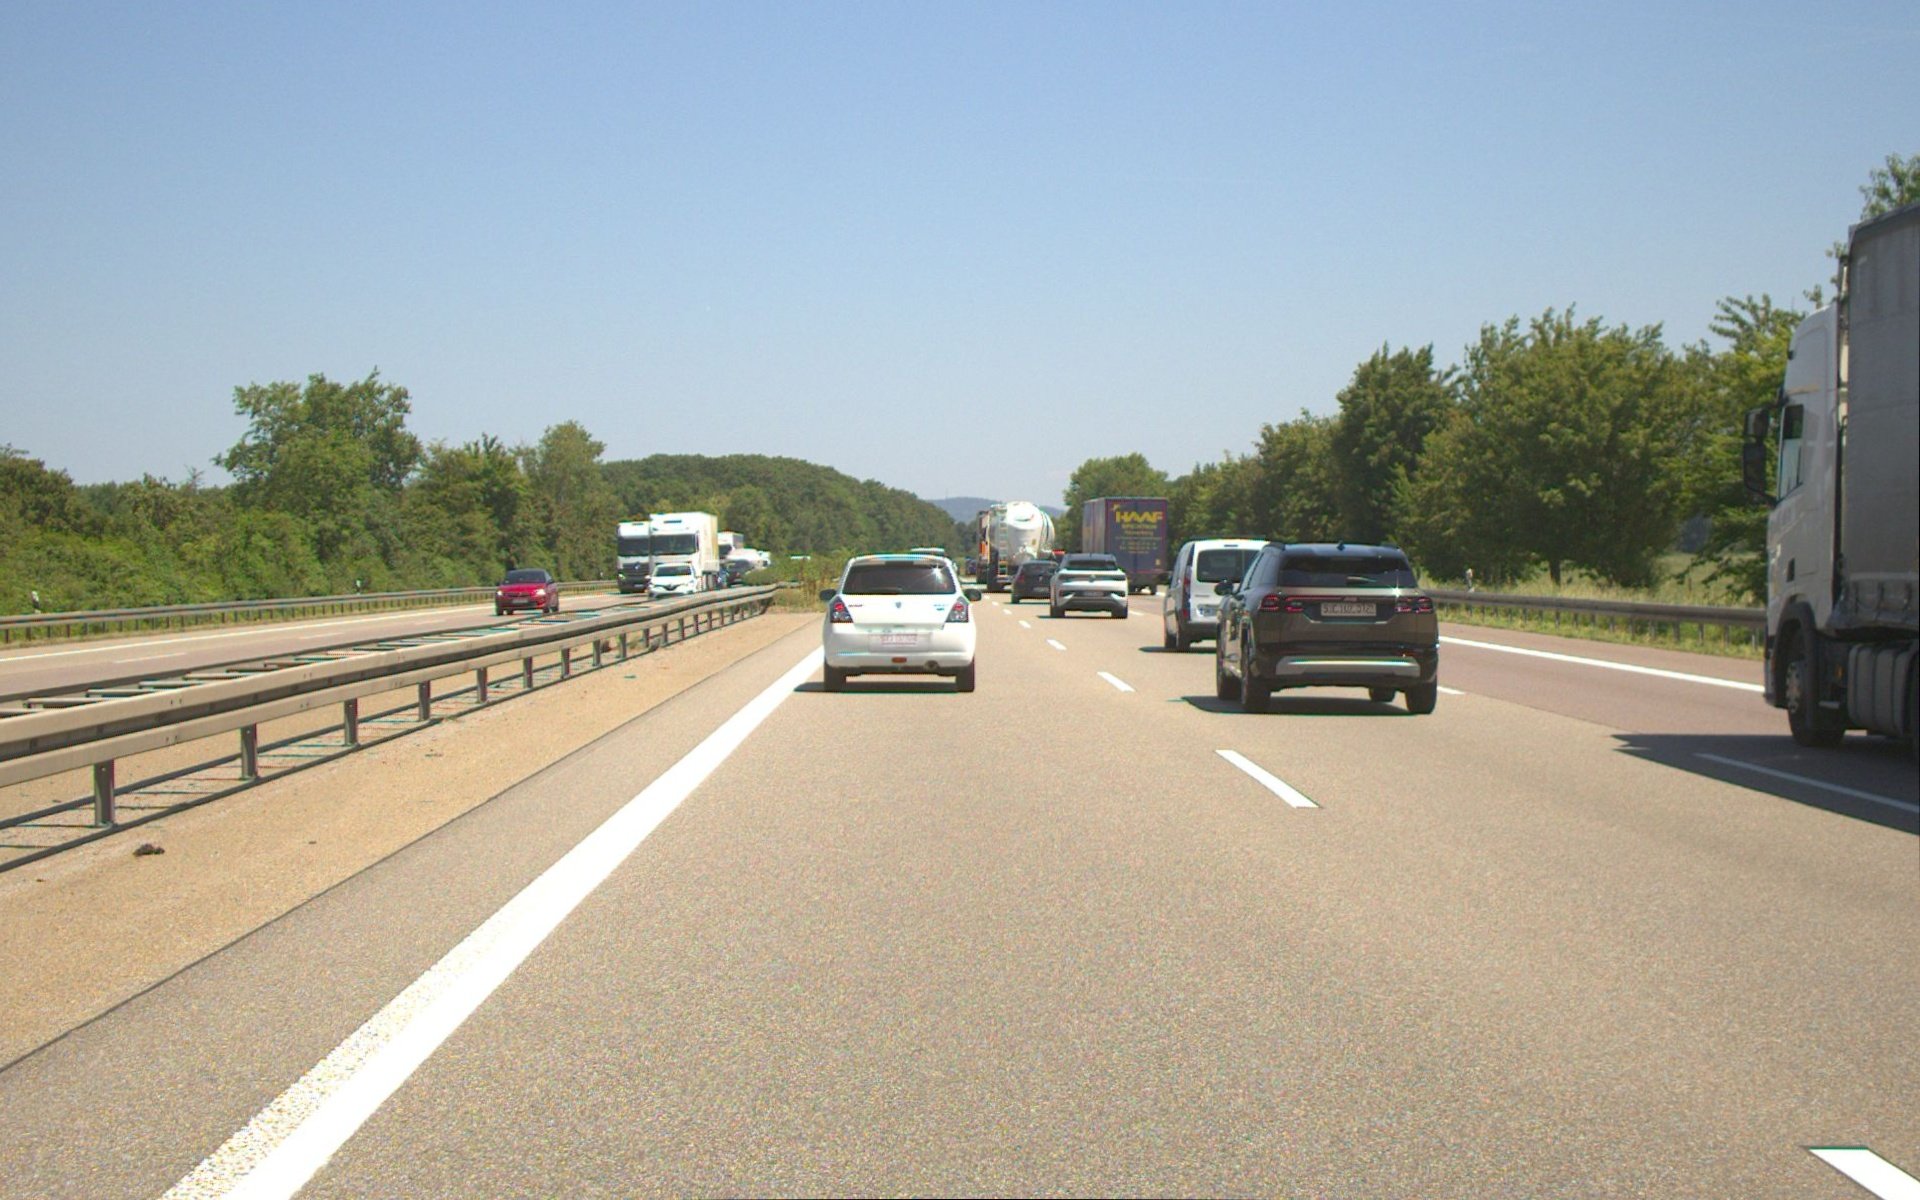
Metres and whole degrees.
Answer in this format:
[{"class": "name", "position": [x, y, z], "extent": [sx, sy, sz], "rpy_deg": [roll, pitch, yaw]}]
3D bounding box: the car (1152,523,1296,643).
[{"class": "car", "position": [4.281, -0.294, 56.395], "extent": [1.853, 1.856, 4.702], "rpy_deg": [1, 1, -1]}]

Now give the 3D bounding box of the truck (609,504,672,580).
[{"class": "truck", "position": [-18.044, -3.258, 194.331], "extent": [2.757, 4.089, 6.152], "rpy_deg": [-3, 1, 0]}]

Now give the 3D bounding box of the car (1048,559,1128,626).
[{"class": "car", "position": [3.202, -0.211, 86.691], "extent": [1.802, 1.597, 4.381], "rpy_deg": [1, 1, 0]}]

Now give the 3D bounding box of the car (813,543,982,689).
[{"class": "car", "position": [-0.699, 0.154, 38.944], "extent": [1.799, 1.547, 3.610], "rpy_deg": [1, 1, -1]}]

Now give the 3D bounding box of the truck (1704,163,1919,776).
[{"class": "truck", "position": [8.077, -0.930, 26.853], "extent": [2.810, 4.290, 7.193], "rpy_deg": [1, 1, -1]}]

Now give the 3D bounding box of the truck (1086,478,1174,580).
[{"class": "truck", "position": [7.216, -2.974, 147.699], "extent": [3.109, 4.124, 15.511], "rpy_deg": [1, 1, 1]}]

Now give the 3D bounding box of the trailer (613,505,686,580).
[{"class": "trailer", "position": [-18.048, -3.333, 200.741], "extent": [2.757, 4.089, 14.053], "rpy_deg": [-3, 1, 0]}]

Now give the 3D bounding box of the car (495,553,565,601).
[{"class": "car", "position": [-13.921, -0.762, 111.462], "extent": [1.772, 1.412, 4.111], "rpy_deg": [-2, 1, -1]}]

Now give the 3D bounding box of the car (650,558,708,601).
[{"class": "car", "position": [-9.796, -0.729, 120.218], "extent": [1.719, 1.417, 3.898], "rpy_deg": [-2, 0, -1]}]

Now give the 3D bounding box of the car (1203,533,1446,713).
[{"class": "car", "position": [3.617, 0.192, 34.902], "extent": [1.867, 1.669, 4.746], "rpy_deg": [1, 1, -1]}]

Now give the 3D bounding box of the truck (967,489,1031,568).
[{"class": "truck", "position": [2.166, -3.941, 192.538], "extent": [3.394, 4.199, 12.083], "rpy_deg": [1, 1, 1]}]

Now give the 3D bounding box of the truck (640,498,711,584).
[{"class": "truck", "position": [-14.007, -2.907, 169.656], "extent": [2.740, 4.071, 6.217], "rpy_deg": [-2, 1, 1]}]

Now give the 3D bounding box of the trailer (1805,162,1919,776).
[{"class": "trailer", "position": [8.160, -0.853, 19.807], "extent": [2.810, 4.290, 14.255], "rpy_deg": [1, 1, -1]}]

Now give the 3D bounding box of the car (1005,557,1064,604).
[{"class": "car", "position": [2.466, -0.653, 114.435], "extent": [1.850, 1.518, 3.957], "rpy_deg": [1, 1, 0]}]

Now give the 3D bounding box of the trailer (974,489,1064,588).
[{"class": "trailer", "position": [2.482, -2.631, 149.710], "extent": [2.911, 4.055, 12.420], "rpy_deg": [1, 1, -4]}]
